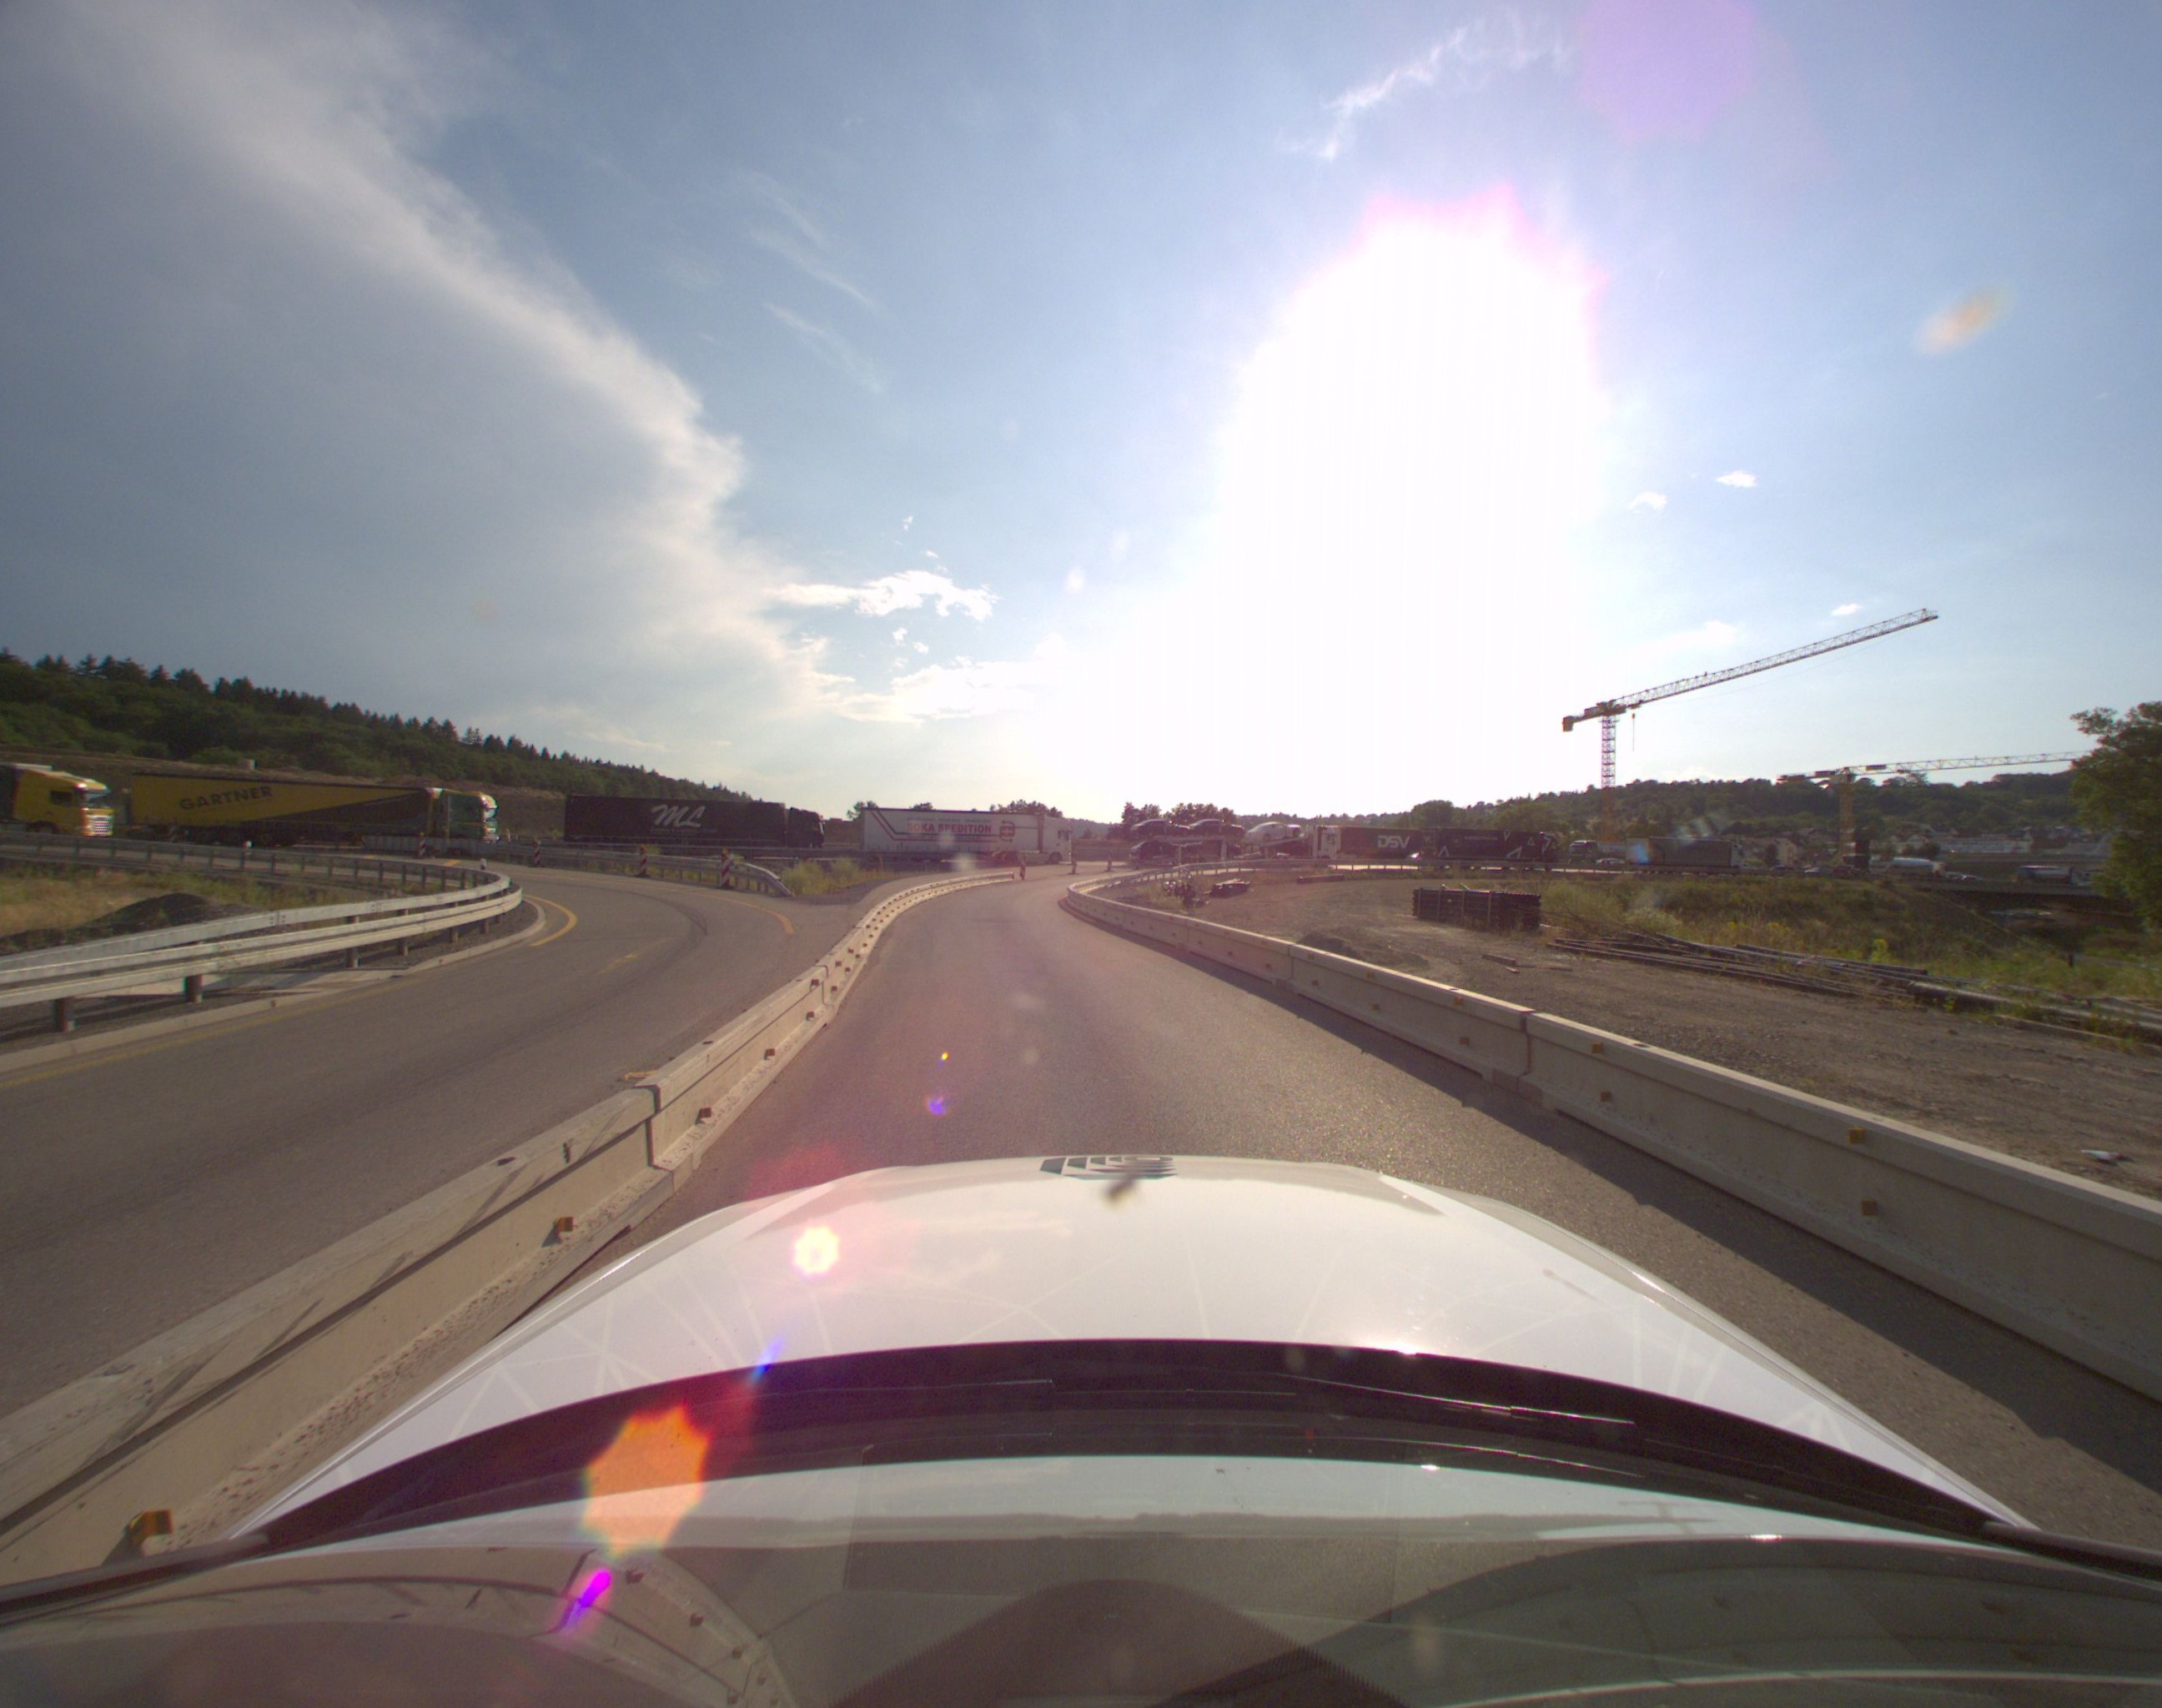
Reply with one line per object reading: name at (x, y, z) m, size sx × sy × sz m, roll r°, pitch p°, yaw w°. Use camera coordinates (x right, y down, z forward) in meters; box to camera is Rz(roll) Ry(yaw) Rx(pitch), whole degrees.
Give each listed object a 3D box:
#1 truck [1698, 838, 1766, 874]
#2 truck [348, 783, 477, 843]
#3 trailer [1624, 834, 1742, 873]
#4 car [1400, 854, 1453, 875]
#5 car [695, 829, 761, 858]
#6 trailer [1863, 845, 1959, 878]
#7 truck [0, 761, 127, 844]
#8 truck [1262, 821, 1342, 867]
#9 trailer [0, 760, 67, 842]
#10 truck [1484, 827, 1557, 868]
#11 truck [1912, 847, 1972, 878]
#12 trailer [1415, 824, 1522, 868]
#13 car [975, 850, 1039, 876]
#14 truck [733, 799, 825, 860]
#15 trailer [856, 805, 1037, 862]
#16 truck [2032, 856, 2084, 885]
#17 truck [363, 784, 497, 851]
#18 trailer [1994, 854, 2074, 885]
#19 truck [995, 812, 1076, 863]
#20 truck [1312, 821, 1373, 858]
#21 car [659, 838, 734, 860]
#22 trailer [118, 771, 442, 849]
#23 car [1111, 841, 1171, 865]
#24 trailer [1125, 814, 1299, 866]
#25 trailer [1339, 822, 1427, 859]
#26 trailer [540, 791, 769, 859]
truck at (76.861, 0.205, 96.219) m, size 6.626 × 3.996 × 3.331 m, roll 2°, pitch 0°, yaw -21°
truck at (-48.830, -2.894, 59.706) m, size 6.626 × 3.996 × 2.838 m, roll 2°, pitch 0°, yaw -21°
trailer at (68.987, -0.012, 93.232) m, size 14.748 × 3.996 × 3.373 m, roll 2°, pitch 0°, yaw -21°
car at (36.062, 1.110, 85.023) m, size 4.979 × 1.980 × 2.022 m, roll 1°, pitch 2°, yaw -20°
car at (-26.093, -0.745, 60.330) m, size 4.333 × 2.014 × 1.515 m, roll 2°, pitch -1°, yaw -21°
trailer at (111.670, 1.009, 109.543) m, size 14.748 × 3.996 × 3.373 m, roll 2°, pitch 0°, yaw -21°
truck at (-58.734, -2.856, 45.090) m, size 6.896 × 4.314 × 3.093 m, roll 2°, pitch -1°, yaw -20°
truck at (20.419, -0.918, 75.210) m, size 6.626 × 3.996 × 2.838 m, roll 2°, pitch 0°, yaw -21°
trailer at (-64.600, -3.044, 42.928) m, size 14.251 × 4.314 × 3.093 m, roll 2°, pitch -1°, yaw -20°
truck at (45.603, -0.609, 84.494) m, size 6.623 × 3.996 × 2.876 m, roll 2°, pitch 0°, yaw -20°
truck at (118.604, 1.188, 112.198) m, size 6.626 × 3.996 × 3.378 m, roll 2°, pitch 0°, yaw -21°
trailer at (39.088, -0.765, 82.152) m, size 10.791 × 4.092 × 2.949 m, roll 2°, pitch -1°, yaw -20°
car at (-6.229, 0.784, 68.551) m, size 4.979 × 1.980 × 2.022 m, roll 1°, pitch 2°, yaw -20°
truck at (-21.856, -1.728, 58.999) m, size 6.016 × 4.060 × 2.470 m, roll 2°, pitch 0°, yaw -23°
trailer at (-10.368, -1.538, 63.489) m, size 13.635 × 3.878 × 2.471 m, roll 2°, pitch 0°, yaw -21°
truck at (148.500, 2.496, 123.785) m, size 6.626 × 4.285 × 3.087 m, roll 2°, pitch 0°, yaw -21°
truck at (-41.019, -2.259, 51.508) m, size 6.012 × 3.901 × 2.472 m, roll 2°, pitch 0°, yaw -20°
trailer at (142.185, 2.330, 121.398) m, size 14.255 × 4.314 × 3.092 m, roll 2°, pitch 0°, yaw -21°
truck at (-3.684, -1.325, 66.074) m, size 6.013 × 3.878 × 2.471 m, roll 2°, pitch 0°, yaw -21°
truck at (28.650, -1.532, 89.199) m, size 5.688 × 3.727 × 2.986 m, roll 2°, pitch -1°, yaw -20°
car at (-29.354, -0.347, 62.350) m, size 4.979 × 1.500 × 2.022 m, roll 1°, pitch 2°, yaw -20°
trailer at (-47.546, -2.507, 49.063) m, size 13.977 × 3.958 × 2.472 m, roll 2°, pitch 0°, yaw -21°
car at (5.332, -0.066, 72.476) m, size 4.979 × 1.980 × 2.022 m, roll 1°, pitch 2°, yaw -20°
trailer at (11.702, -1.172, 71.891) m, size 15.749 × 3.996 × 2.847 m, roll 2°, pitch 0°, yaw -21°
trailer at (33.812, -1.411, 91.064) m, size 9.569 × 3.752 × 2.997 m, roll 2°, pitch -1°, yaw -20°
trailer at (-28.895, -1.892, 56.154) m, size 13.637 × 4.061 × 2.471 m, roll 2°, pitch 0°, yaw -22°
